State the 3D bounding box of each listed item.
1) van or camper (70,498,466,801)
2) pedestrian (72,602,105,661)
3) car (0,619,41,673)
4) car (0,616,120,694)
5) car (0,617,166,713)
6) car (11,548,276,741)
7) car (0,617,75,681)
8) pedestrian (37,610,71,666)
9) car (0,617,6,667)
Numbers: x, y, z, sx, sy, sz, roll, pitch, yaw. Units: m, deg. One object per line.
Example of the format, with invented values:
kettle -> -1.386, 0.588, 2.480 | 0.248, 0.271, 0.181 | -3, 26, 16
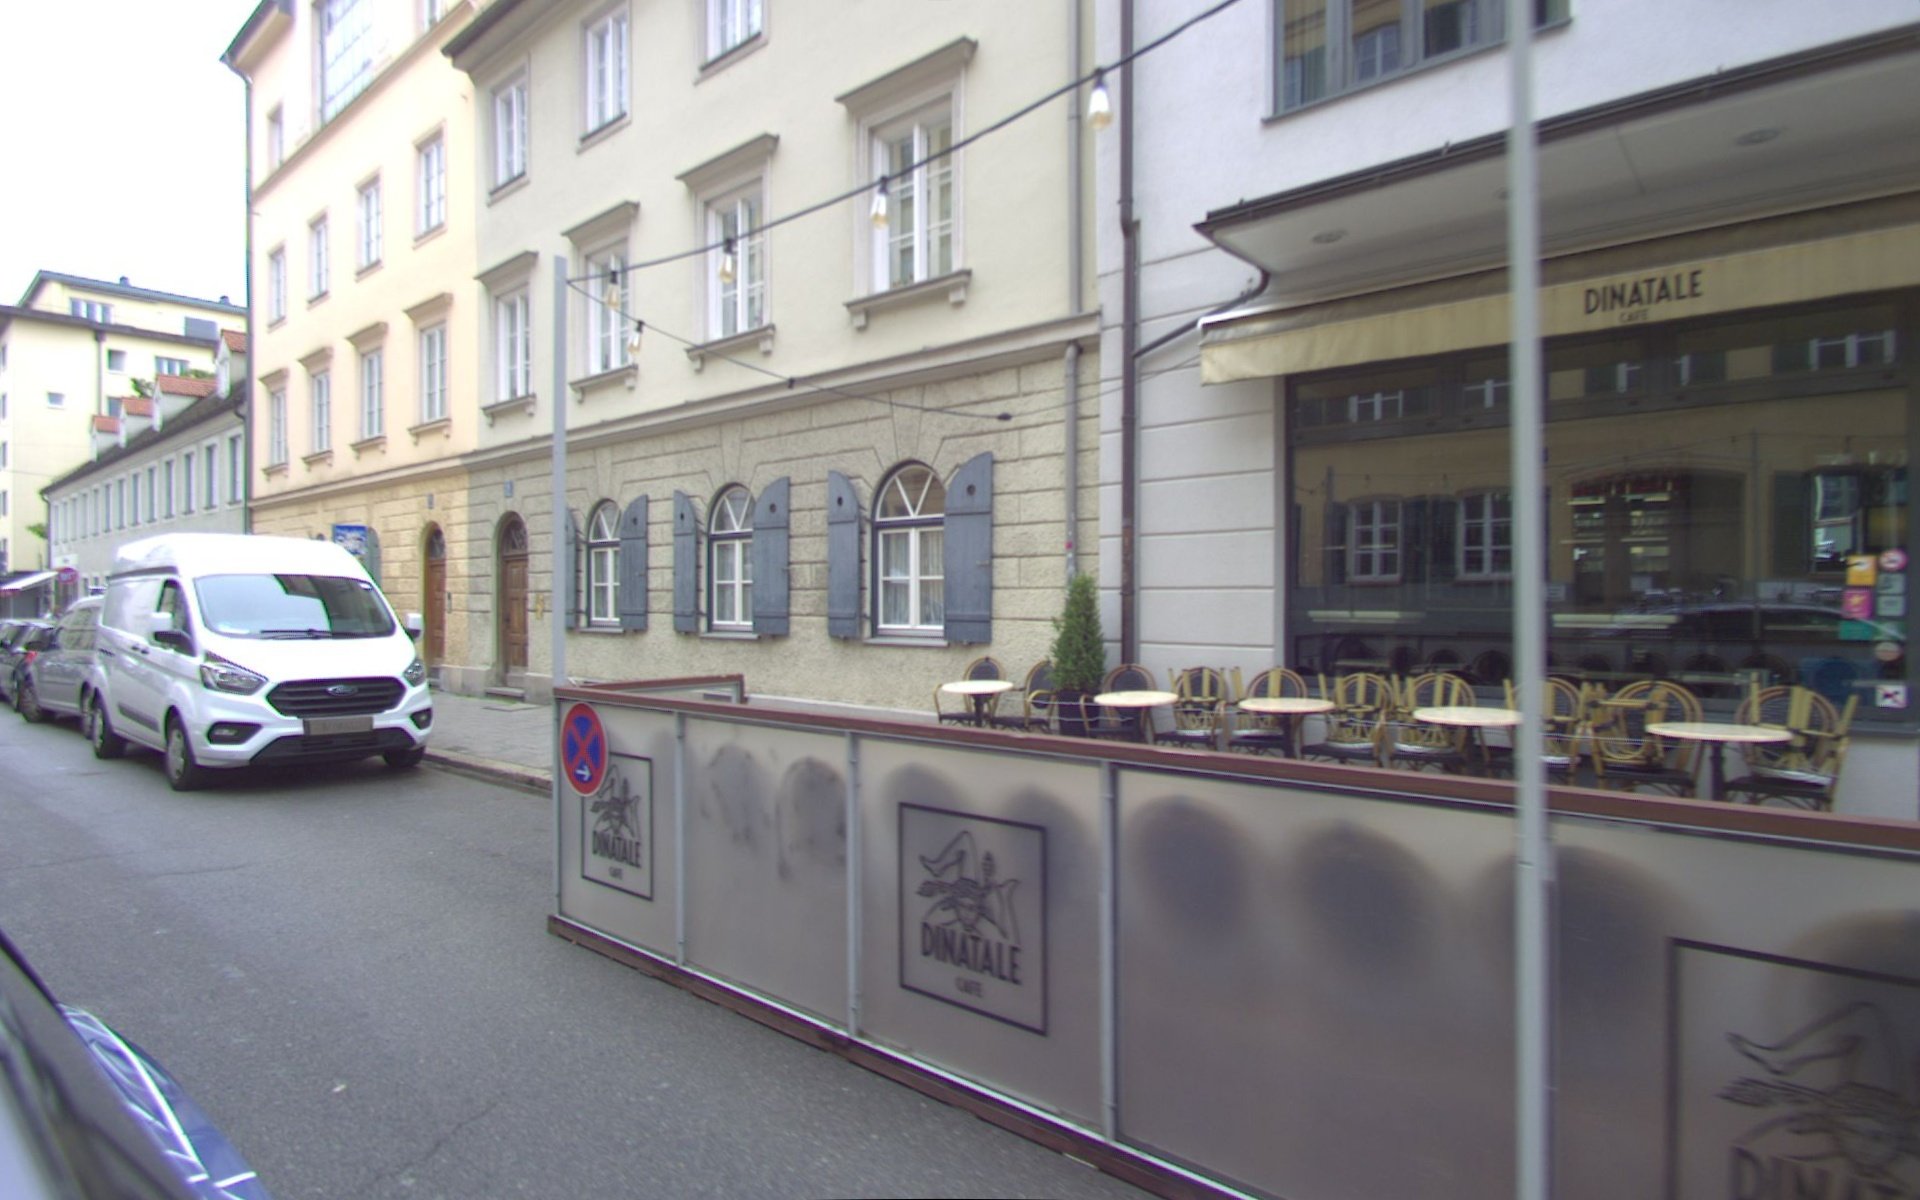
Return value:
van or camper -> -7.253, 0.423, 10.326 | 5.474, 2.329, 1.973 | -1, -1, 41
pedestrian -> -26.020, 0.936, 30.222 | 0.805, 1.711, 0.574 | -1, -2, 38
car -> -26.999, 1.256, 27.998 | 4.267, 1.412, 1.838 | -1, -1, 41
car -> -18.891, 1.064, 20.664 | 4.264, 1.412, 1.839 | -1, -1, 38
car -> -15.294, 1.022, 17.322 | 4.265, 1.412, 1.839 | -1, -1, 40
car -> -11.223, 0.546, 13.796 | 4.555, 2.218, 1.840 | -1, -1, 38
car -> -22.700, 1.132, 24.098 | 4.266, 1.412, 1.839 | -1, -1, 40
pedestrian -> -26.375, 1.096, 29.468 | 0.662, 1.611, 0.607 | -1, -2, 38
car -> -31.216, 1.312, 31.627 | 3.419, 1.526, 1.554 | -1, -1, 38
